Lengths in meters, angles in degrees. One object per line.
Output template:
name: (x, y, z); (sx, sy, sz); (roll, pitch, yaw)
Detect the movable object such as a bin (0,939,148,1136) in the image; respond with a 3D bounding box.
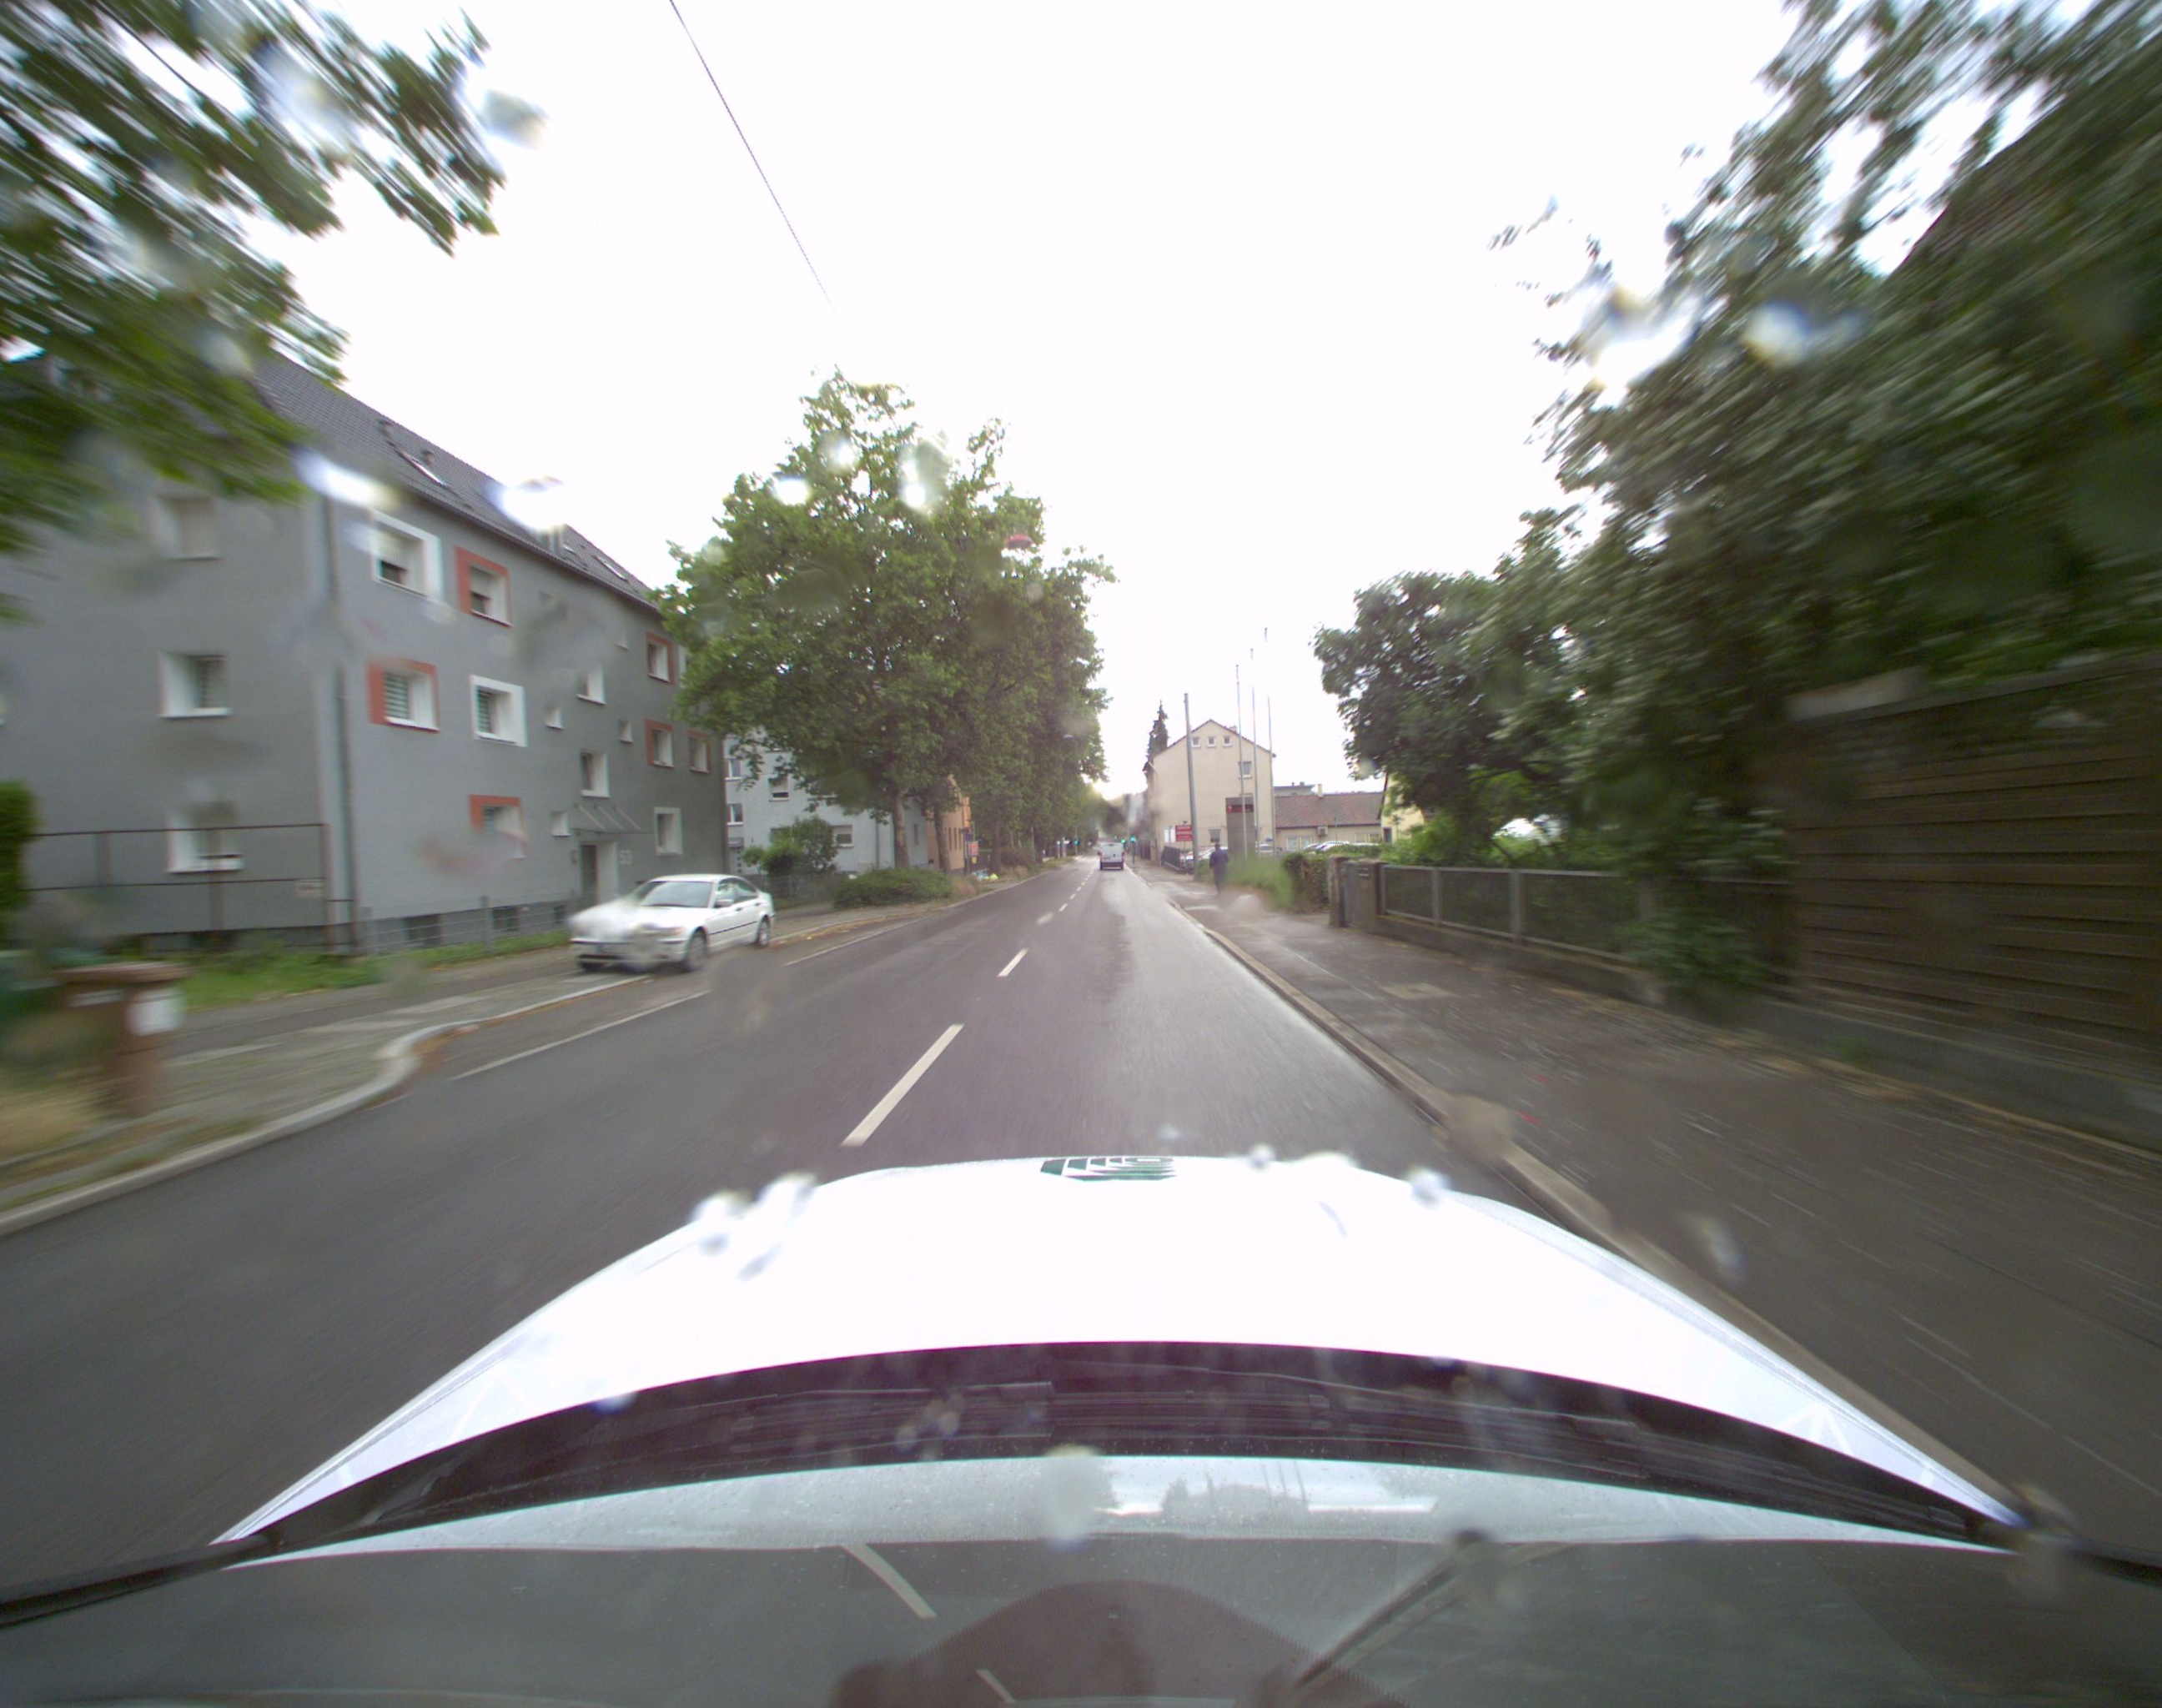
movable object such as a bin: (-6.432, 1.096, 4.981); (0.532, 1.057, 0.762); (-3, -1, 2)

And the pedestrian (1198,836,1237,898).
pedestrian: (4.340, 0.408, 25.975); (1.039, 1.897, 0.901); (-2, -1, 2)

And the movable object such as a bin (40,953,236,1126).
movable object such as a bin: (-5.866, 1.127, 5.094); (0.510, 0.927, 0.581); (-3, -1, 1)

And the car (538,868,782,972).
car: (-6.687, 0.958, 13.594); (1.750, 1.326, 4.536); (-1, 0, -1)

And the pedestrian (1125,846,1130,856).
pedestrian: (8.463, -0.574, 147.496); (0.741, 1.704, 0.900); (0, -1, -4)

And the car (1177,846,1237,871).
car: (8.928, 0.335, 57.989); (4.052, 1.736, 1.870); (-1, -1, 1)

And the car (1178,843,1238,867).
car: (9.463, 0.060, 60.736); (4.212, 1.736, 1.870); (-1, -1, 1)

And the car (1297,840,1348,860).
car: (20.009, -0.286, 67.375); (3.954, 1.593, 1.830); (-1, -1, 19)

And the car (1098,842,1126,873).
car: (2.674, 0.287, 70.170); (2.274, 2.553, 4.002); (-2, -1, 2)

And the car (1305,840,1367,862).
car: (19.032, -0.201, 60.976); (4.071, 1.600, 1.794); (-1, -1, 0)

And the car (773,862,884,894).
car: (-11.961, 1.132, 38.740); (4.645, 1.477, 1.870); (-1, -1, 1)

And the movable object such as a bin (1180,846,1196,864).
movable object such as a bin: (9.409, 0.082, 71.550); (1.229, 1.509, 1.111); (-4, -1, 1)

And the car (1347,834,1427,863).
car: (19.808, -0.371, 52.837); (4.487, 1.626, 1.870); (-3, 0, 1)

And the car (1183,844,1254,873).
car: (8.822, 0.293, 52.683); (4.286, 1.768, 2.001); (-1, -1, 1)

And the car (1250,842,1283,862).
car: (14.162, -0.127, 62.359); (1.801, 1.530, 3.628); (-1, -1, 1)

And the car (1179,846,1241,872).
car: (8.745, 0.322, 55.385); (3.934, 1.724, 1.792); (-1, 0, 1)

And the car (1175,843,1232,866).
car: (9.522, 0.077, 63.444); (4.212, 1.736, 1.870); (-1, -1, 1)

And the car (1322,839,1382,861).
car: (19.388, -0.289, 58.397); (3.754, 1.532, 1.757); (0, 0, -2)

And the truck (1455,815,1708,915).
truck: (13.897, 0.310, 22.881); (5.823, 2.637, 2.044); (0, -1, 1)
